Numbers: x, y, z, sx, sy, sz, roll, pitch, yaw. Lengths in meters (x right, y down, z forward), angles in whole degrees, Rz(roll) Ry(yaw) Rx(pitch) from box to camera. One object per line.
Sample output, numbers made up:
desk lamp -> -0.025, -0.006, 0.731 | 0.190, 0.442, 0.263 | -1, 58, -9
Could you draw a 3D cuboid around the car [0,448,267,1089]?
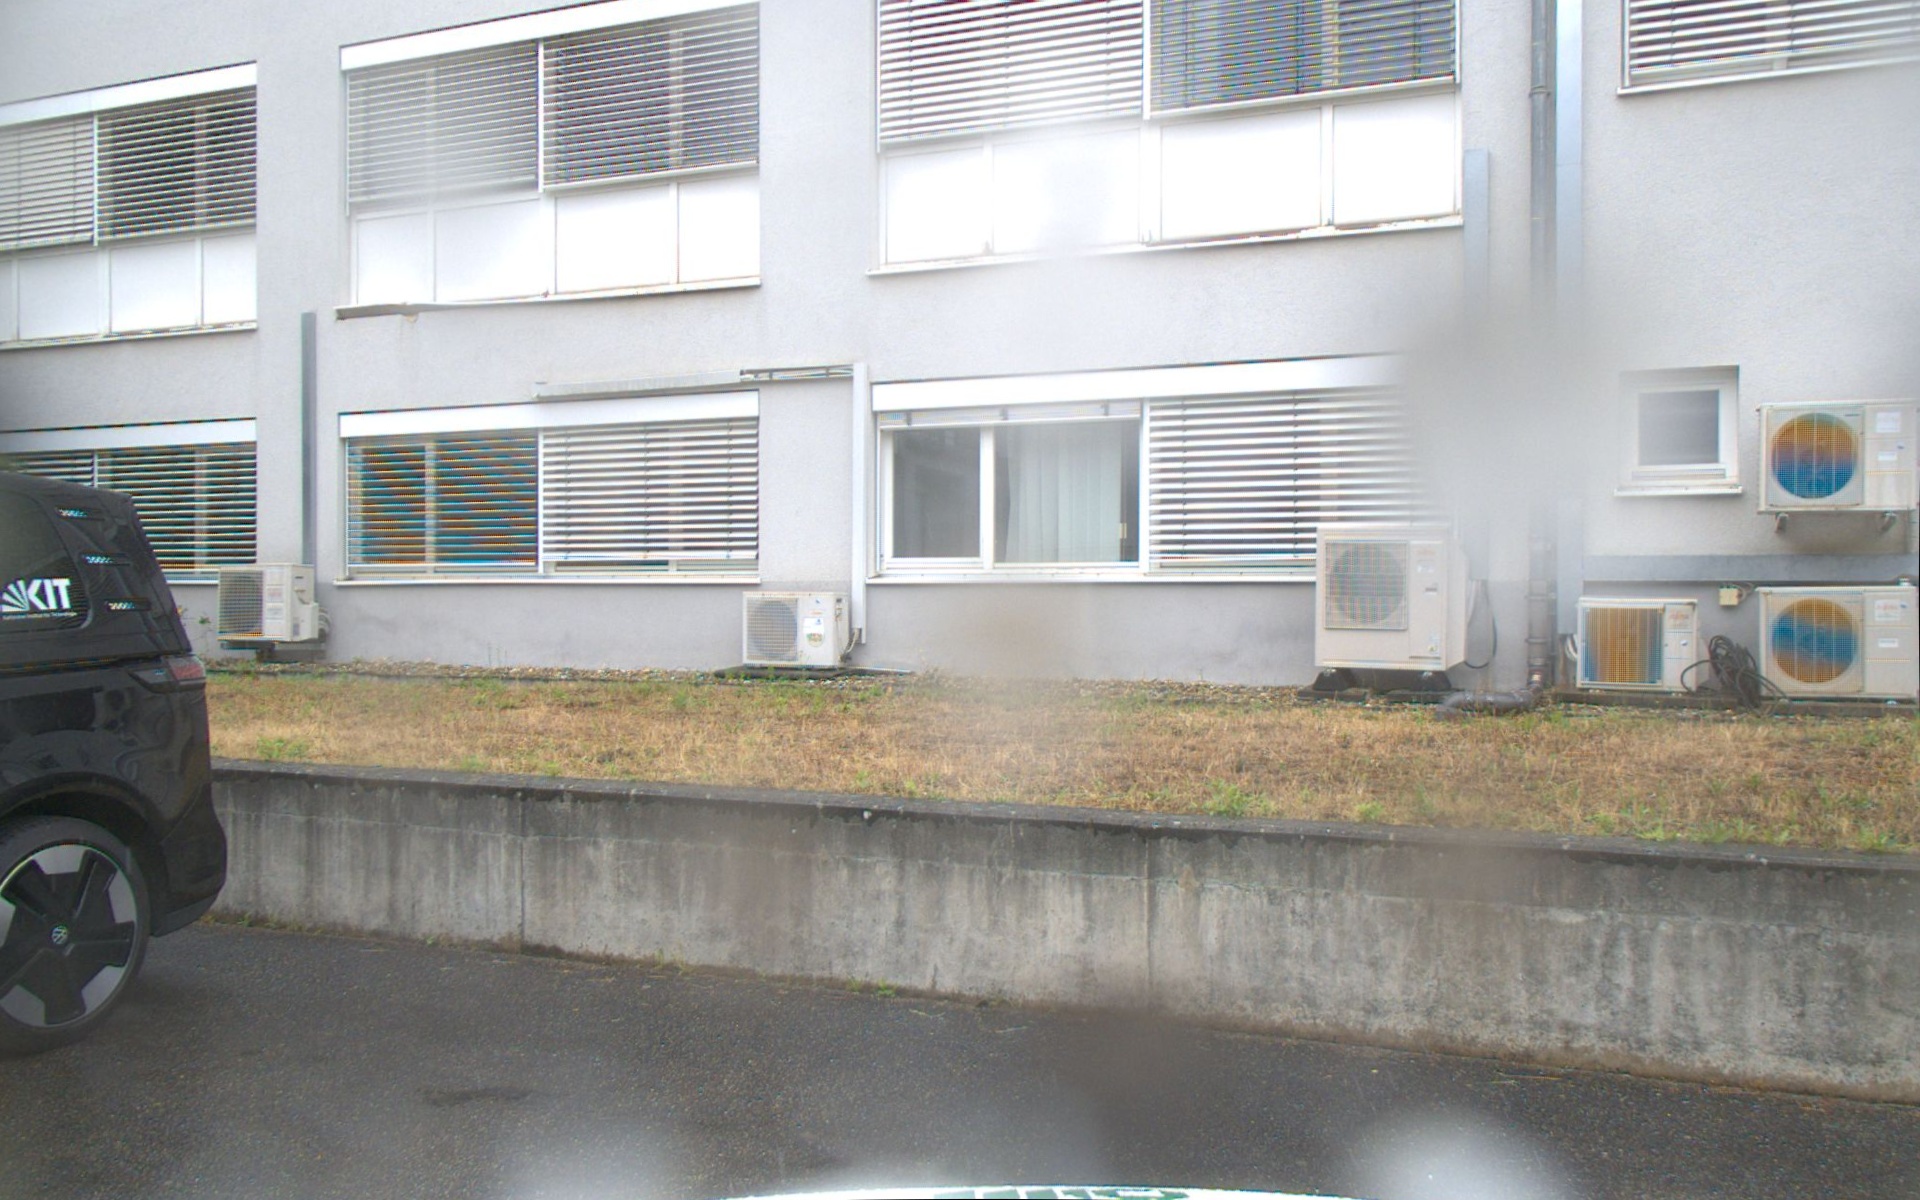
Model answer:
car -> -4.269, 0.533, 4.233 | 1.998, 1.930, 4.522 | -1, 0, 22
